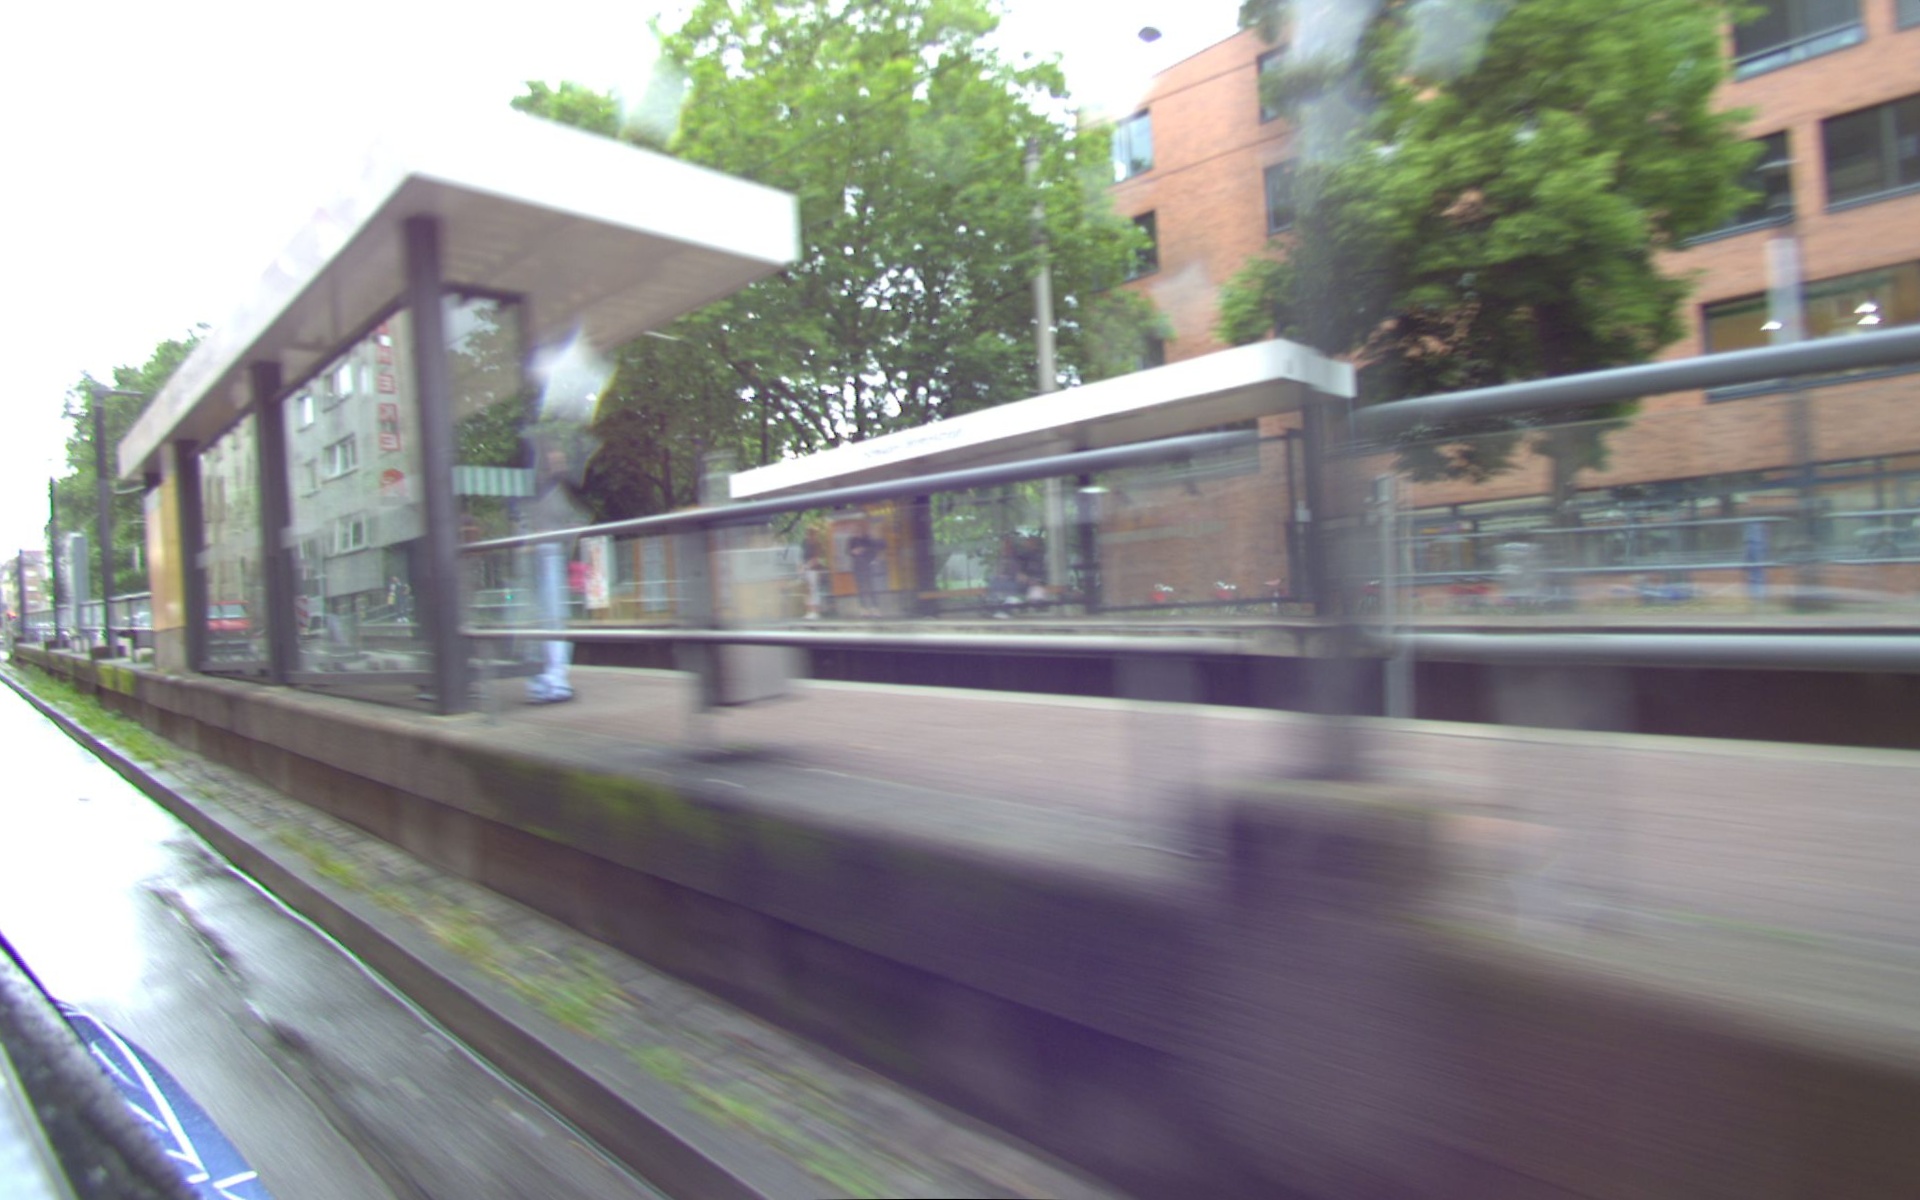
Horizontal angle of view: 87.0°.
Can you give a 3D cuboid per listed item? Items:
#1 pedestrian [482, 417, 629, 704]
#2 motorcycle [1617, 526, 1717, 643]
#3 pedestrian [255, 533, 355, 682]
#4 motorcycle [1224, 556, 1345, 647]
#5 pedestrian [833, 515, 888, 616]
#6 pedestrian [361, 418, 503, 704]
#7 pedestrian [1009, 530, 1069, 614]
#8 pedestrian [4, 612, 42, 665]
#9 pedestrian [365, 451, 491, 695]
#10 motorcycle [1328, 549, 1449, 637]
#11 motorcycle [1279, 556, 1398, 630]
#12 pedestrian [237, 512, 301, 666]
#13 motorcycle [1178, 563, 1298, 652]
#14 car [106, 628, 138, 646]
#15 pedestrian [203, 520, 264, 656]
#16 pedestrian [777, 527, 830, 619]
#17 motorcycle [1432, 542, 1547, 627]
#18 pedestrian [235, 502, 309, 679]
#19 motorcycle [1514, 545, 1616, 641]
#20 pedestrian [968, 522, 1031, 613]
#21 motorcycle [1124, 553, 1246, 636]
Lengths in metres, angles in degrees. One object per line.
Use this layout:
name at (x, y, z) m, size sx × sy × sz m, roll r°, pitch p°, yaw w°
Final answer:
pedestrian at (-2.396, -0.227, 6.001) m, size 0.606 × 1.593 × 0.508 m, roll -3°, pitch 1°, yaw -43°
motorcycle at (12.164, -0.300, 17.353) m, size 0.993 × 1.829 × 3.004 m, roll -2°, pitch 1°, yaw 42°
pedestrian at (-5.685, 0.055, 8.783) m, size 0.606 × 1.236 × 0.508 m, roll -3°, pitch 1°, yaw -43°
motorcycle at (7.308, -0.020, 22.589) m, size 1.006 × 1.829 × 3.823 m, roll -2°, pitch 1°, yaw 42°
pedestrian at (-1.753, -0.606, 17.853) m, size 0.706 × 1.728 × 0.556 m, roll -3°, pitch 1°, yaw 42°
pedestrian at (-3.361, -0.235, 6.437) m, size 0.606 × 1.700 × 0.588 m, roll -3°, pitch 1°, yaw -43°
pedestrian at (1.217, -0.437, 15.577) m, size 0.564 × 1.249 × 0.696 m, roll -3°, pitch 1°, yaw 42°
pedestrian at (-33.145, 1.353, 35.799) m, size 0.787 × 1.812 × 0.850 m, roll -2°, pitch 1°, yaw 44°
pedestrian at (-3.677, -0.184, 6.998) m, size 0.606 × 1.593 × 0.508 m, roll -3°, pitch 1°, yaw -43°
motorcycle at (8.809, -0.189, 20.649) m, size 1.006 × 1.617 × 3.823 m, roll -2°, pitch 1°, yaw 42°
motorcycle at (8.199, -0.194, 21.746) m, size 1.006 × 1.417 × 3.823 m, roll -2°, pitch 1°, yaw 42°
pedestrian at (-7.439, -0.116, 10.893) m, size 0.450 × 1.617 × 0.405 m, roll -2°, pitch 0°, yaw 38°
motorcycle at (6.489, 0.120, 23.390) m, size 1.006 × 1.829 × 3.823 m, roll -2°, pitch 1°, yaw 42°
car at (-77.027, 3.398, 93.047) m, size 3.809 × 1.488 × 1.866 m, roll -2°, pitch 1°, yaw 45°
pedestrian at (-8.884, -0.150, 12.384) m, size 0.489 × 1.617 × 0.639 m, roll -2°, pitch 0°, yaw -29°
pedestrian at (-2.908, -0.503, 18.811) m, size 0.564 × 1.653 × 0.679 m, roll -3°, pitch 1°, yaw 42°
motorcycle at (10.349, -0.351, 19.670) m, size 1.006 × 1.499 × 3.823 m, roll -2°, pitch 1°, yaw 42°
pedestrian at (-6.468, -0.095, 9.531) m, size 0.499 × 1.601 × 0.529 m, roll -3°, pitch 1°, yaw -34°
motorcycle at (11.260, -0.173, 18.778) m, size 1.006 × 1.639 × 3.026 m, roll -2°, pitch 1°, yaw 42°
pedestrian at (0.625, -0.515, 15.874) m, size 0.564 × 1.373 × 0.769 m, roll -3°, pitch 1°, yaw 42°
motorcycle at (5.420, -0.179, 24.074) m, size 1.006 × 1.787 × 3.823 m, roll -2°, pitch 1°, yaw 42°
